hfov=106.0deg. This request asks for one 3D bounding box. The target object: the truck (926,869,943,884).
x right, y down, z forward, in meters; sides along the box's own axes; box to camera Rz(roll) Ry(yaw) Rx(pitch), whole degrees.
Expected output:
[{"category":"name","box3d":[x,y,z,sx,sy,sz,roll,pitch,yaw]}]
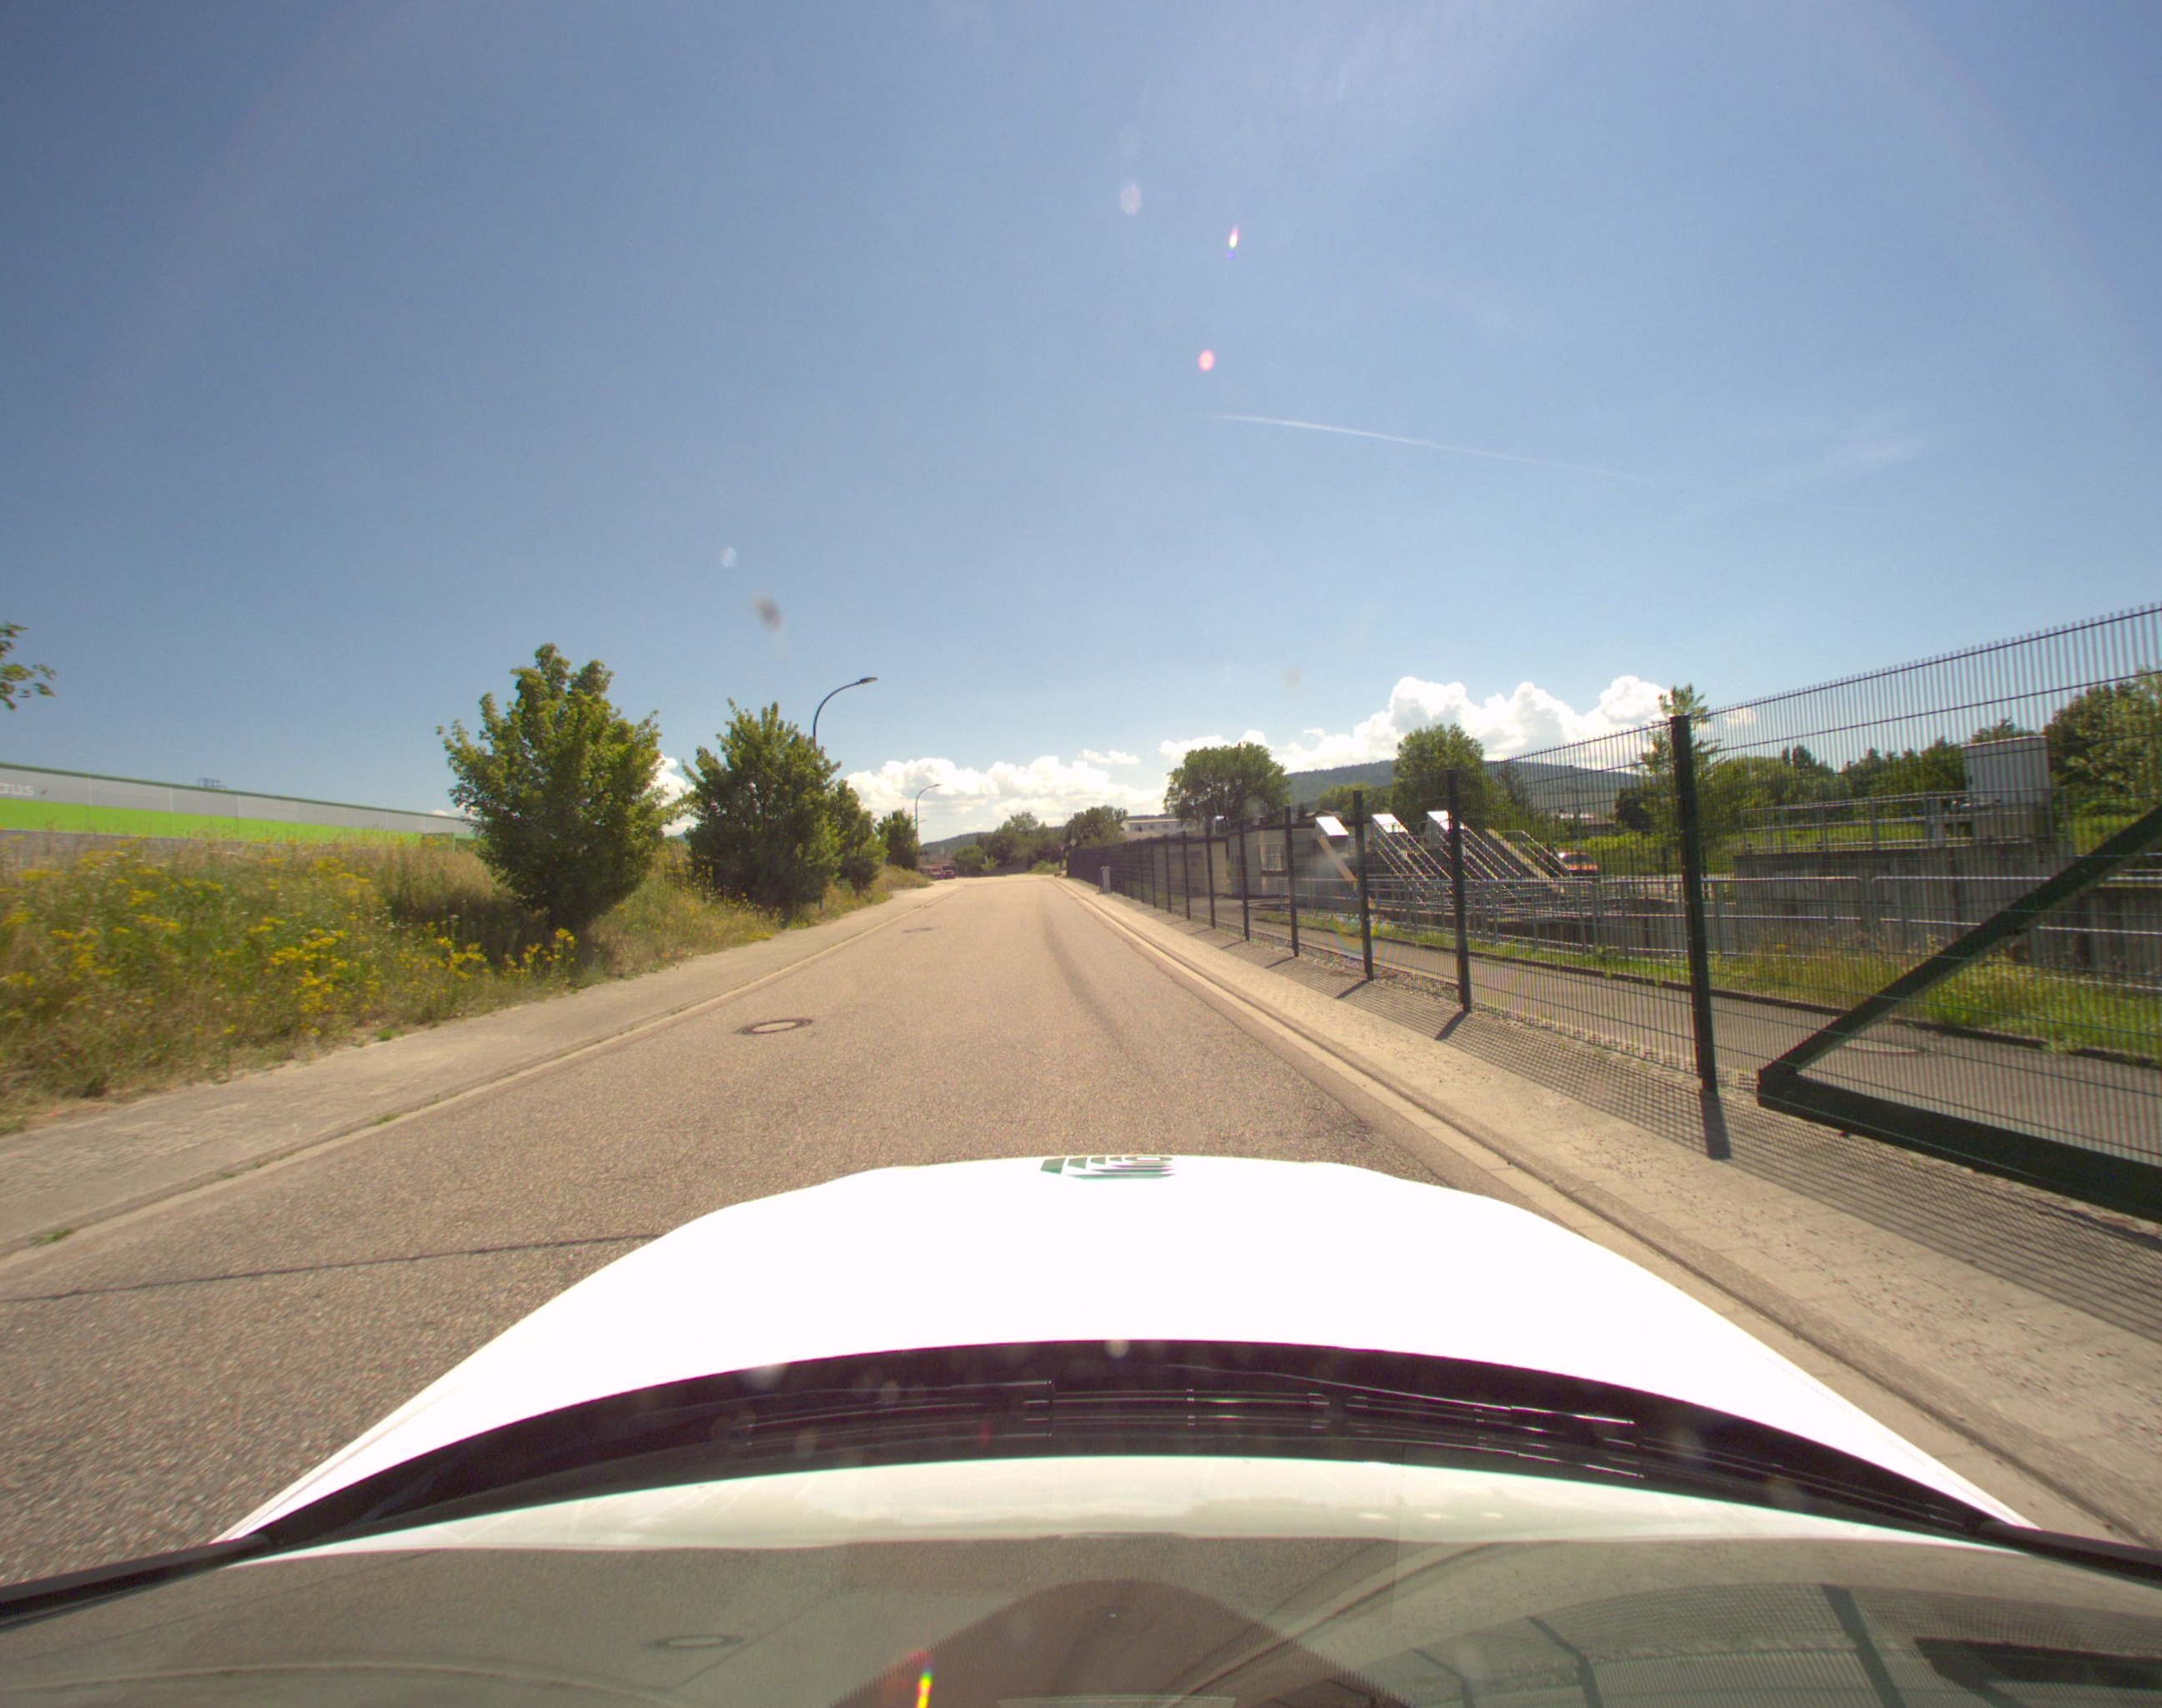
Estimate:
[{"category":"truck","box3d":[-28.424,4.402,158.005,2.687,2.772,6.058,-1,-1,-15]}]

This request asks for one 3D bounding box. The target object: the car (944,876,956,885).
[{"category":"car","box3d":[-20.849,4.204,129.845,1.776,1.448,3.439,-1,-1,-11]}]

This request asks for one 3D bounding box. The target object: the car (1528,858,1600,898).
[{"category":"car","box3d":[25.998,1.233,44.051,1.979,2.020,4.939,-2,-1,14]}]
